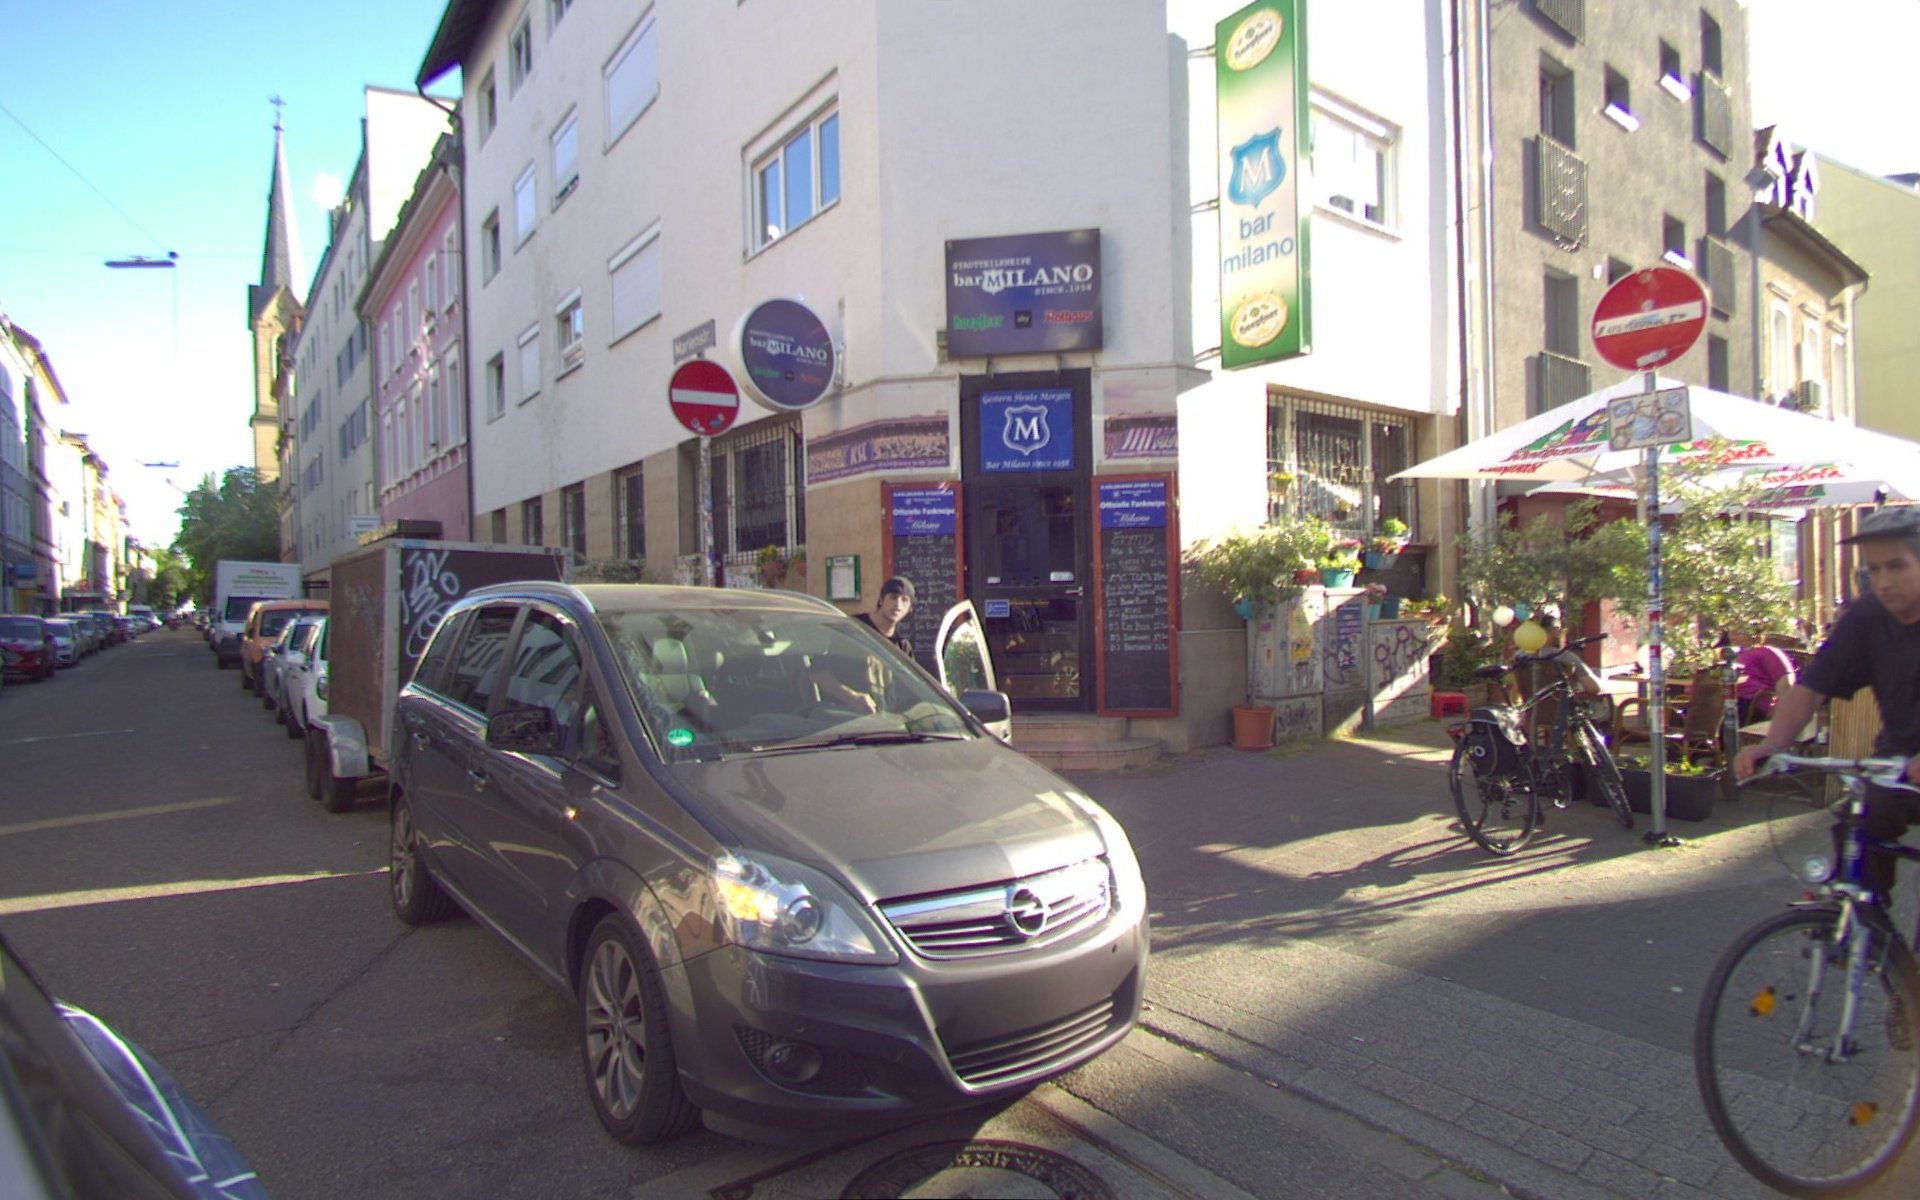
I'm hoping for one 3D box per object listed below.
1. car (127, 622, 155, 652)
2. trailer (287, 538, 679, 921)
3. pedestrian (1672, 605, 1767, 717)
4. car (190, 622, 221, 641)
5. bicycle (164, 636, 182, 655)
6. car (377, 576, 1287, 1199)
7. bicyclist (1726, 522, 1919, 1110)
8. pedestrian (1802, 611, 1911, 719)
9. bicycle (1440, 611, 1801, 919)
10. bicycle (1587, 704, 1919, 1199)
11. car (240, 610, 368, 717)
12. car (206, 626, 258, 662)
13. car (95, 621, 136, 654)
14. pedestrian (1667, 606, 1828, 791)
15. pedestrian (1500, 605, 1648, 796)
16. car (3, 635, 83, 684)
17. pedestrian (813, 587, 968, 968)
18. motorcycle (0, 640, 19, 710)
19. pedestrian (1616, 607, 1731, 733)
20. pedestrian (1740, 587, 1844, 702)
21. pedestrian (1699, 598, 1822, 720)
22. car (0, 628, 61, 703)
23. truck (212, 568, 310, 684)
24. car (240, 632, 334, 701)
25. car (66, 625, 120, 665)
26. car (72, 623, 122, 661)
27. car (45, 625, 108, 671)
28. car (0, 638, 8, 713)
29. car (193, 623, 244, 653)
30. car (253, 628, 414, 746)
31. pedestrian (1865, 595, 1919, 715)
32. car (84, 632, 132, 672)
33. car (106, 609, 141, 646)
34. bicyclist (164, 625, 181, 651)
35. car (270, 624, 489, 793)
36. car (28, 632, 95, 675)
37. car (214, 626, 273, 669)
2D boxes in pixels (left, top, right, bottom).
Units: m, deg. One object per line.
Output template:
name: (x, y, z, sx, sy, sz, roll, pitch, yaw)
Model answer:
car: (-83.278, 3.748, 102.867, 1.969, 2.814, 4.571, -3, 1, -41)
trailer: (-3.846, 0.741, 7.705, 1.641, 2.077, 4.371, 1, -1, -40)
pedestrian: (8.286, 0.653, 11.067, 0.536, 1.153, 0.659, -2, 0, 6)
car: (-69.403, 2.894, 93.021, 1.898, 1.542, 4.571, -3, 1, -41)
bicycle: (-71.295, 4.113, 91.677, 1.005, 1.663, 3.552, -3, 1, -42)
car: (-1.012, 0.832, 4.104, 1.700, 1.618, 4.173, 0, -2, -39)
bicyclist: (2.684, 0.524, 2.684, 0.776, 1.446, 0.713, -1, -1, -24)
pedestrian: (9.478, 0.666, 10.702, 0.712, 1.061, 0.680, -3, 1, -33)
bicycle: (3.858, 0.784, 5.815, 2.443, 1.369, 0.930, -1, 0, -37)
bicycle: (2.656, 0.909, 2.684, 1.901, 1.120, 0.713, -2, -1, -24)
car: (-13.074, 1.155, 20.062, 1.779, 1.859, 4.253, 0, -1, -38)
car: (-31.795, 1.885, 44.170, 1.661, 1.502, 3.922, 2, -2, -38)
car: (-56.875, 2.471, 68.099, 1.969, 2.029, 4.571, -3, 1, -41)
pedestrian: (5.975, 0.703, 7.687, 0.836, 1.275, 0.708, -3, 1, -34)
pedestrian: (4.457, 0.688, 7.353, 0.677, 1.275, 0.662, -3, 1, -34)
car: (-29.269, 1.855, 32.384, 1.588, 1.406, 3.889, 1, -1, -38)
pedestrian: (-0.346, 0.778, 4.824, 0.571, 1.656, 0.633, -2, 2, -15)
motorcycle: (-21.940, 1.666, 22.710, 0.975, 1.501, 2.272, 1, -1, -38)
pedestrian: (7.060, 0.662, 10.023, 0.649, 1.163, 0.683, -3, 1, -28)
pedestrian: (9.653, 0.502, 11.762, 0.649, 1.275, 0.616, -2, 0, -8)
pedestrian: (8.023, 0.573, 10.169, 0.681, 1.153, 0.659, -2, 0, 6)
car: (-24.447, 1.626, 26.016, 1.687, 1.744, 4.417, 1, -1, -38)
truck: (-21.845, 0.757, 31.492, 2.261, 3.207, 7.060, 0, -1, -36)
car: (-16.654, 1.572, 24.972, 1.661, 1.477, 3.667, 0, -1, -38)
car: (-40.278, 2.037, 47.099, 1.687, 1.744, 4.229, 1, -1, -38)
car: (-43.605, 2.074, 51.192, 1.687, 1.826, 4.229, 1, -1, -38)
car: (-36.242, 1.920, 41.601, 1.687, 1.744, 4.229, 1, -1, -38)
car: (-19.913, 1.547, 19.737, 1.595, 1.515, 3.780, 1, -1, -38)
car: (-42.223, 2.153, 57.583, 1.898, 1.542, 4.571, -3, 1, -41)
car: (-9.810, 1.215, 15.690, 1.652, 1.508, 4.540, 1, -1, -38)
pedestrian: (10.720, 0.591, 11.232, 0.672, 1.275, 0.723, -2, 0, 5)
car: (-48.919, 2.947, 58.172, 1.969, 2.029, 4.572, -3, 1, -40)
car: (-67.729, 2.216, 81.927, 1.969, 2.814, 4.571, -3, 1, -41)
bicyclist: (-71.329, 3.405, 91.647, 1.005, 2.310, 1.534, -3, 1, -42)
car: (-6.720, 1.064, 11.529, 1.655, 1.566, 3.826, 1, -1, -38)
car: (-33.349, 1.960, 37.636, 1.588, 1.463, 3.889, 1, -1, -38)
car: (-28.090, 1.828, 39.633, 1.661, 1.600, 3.922, 2, -3, -38)
